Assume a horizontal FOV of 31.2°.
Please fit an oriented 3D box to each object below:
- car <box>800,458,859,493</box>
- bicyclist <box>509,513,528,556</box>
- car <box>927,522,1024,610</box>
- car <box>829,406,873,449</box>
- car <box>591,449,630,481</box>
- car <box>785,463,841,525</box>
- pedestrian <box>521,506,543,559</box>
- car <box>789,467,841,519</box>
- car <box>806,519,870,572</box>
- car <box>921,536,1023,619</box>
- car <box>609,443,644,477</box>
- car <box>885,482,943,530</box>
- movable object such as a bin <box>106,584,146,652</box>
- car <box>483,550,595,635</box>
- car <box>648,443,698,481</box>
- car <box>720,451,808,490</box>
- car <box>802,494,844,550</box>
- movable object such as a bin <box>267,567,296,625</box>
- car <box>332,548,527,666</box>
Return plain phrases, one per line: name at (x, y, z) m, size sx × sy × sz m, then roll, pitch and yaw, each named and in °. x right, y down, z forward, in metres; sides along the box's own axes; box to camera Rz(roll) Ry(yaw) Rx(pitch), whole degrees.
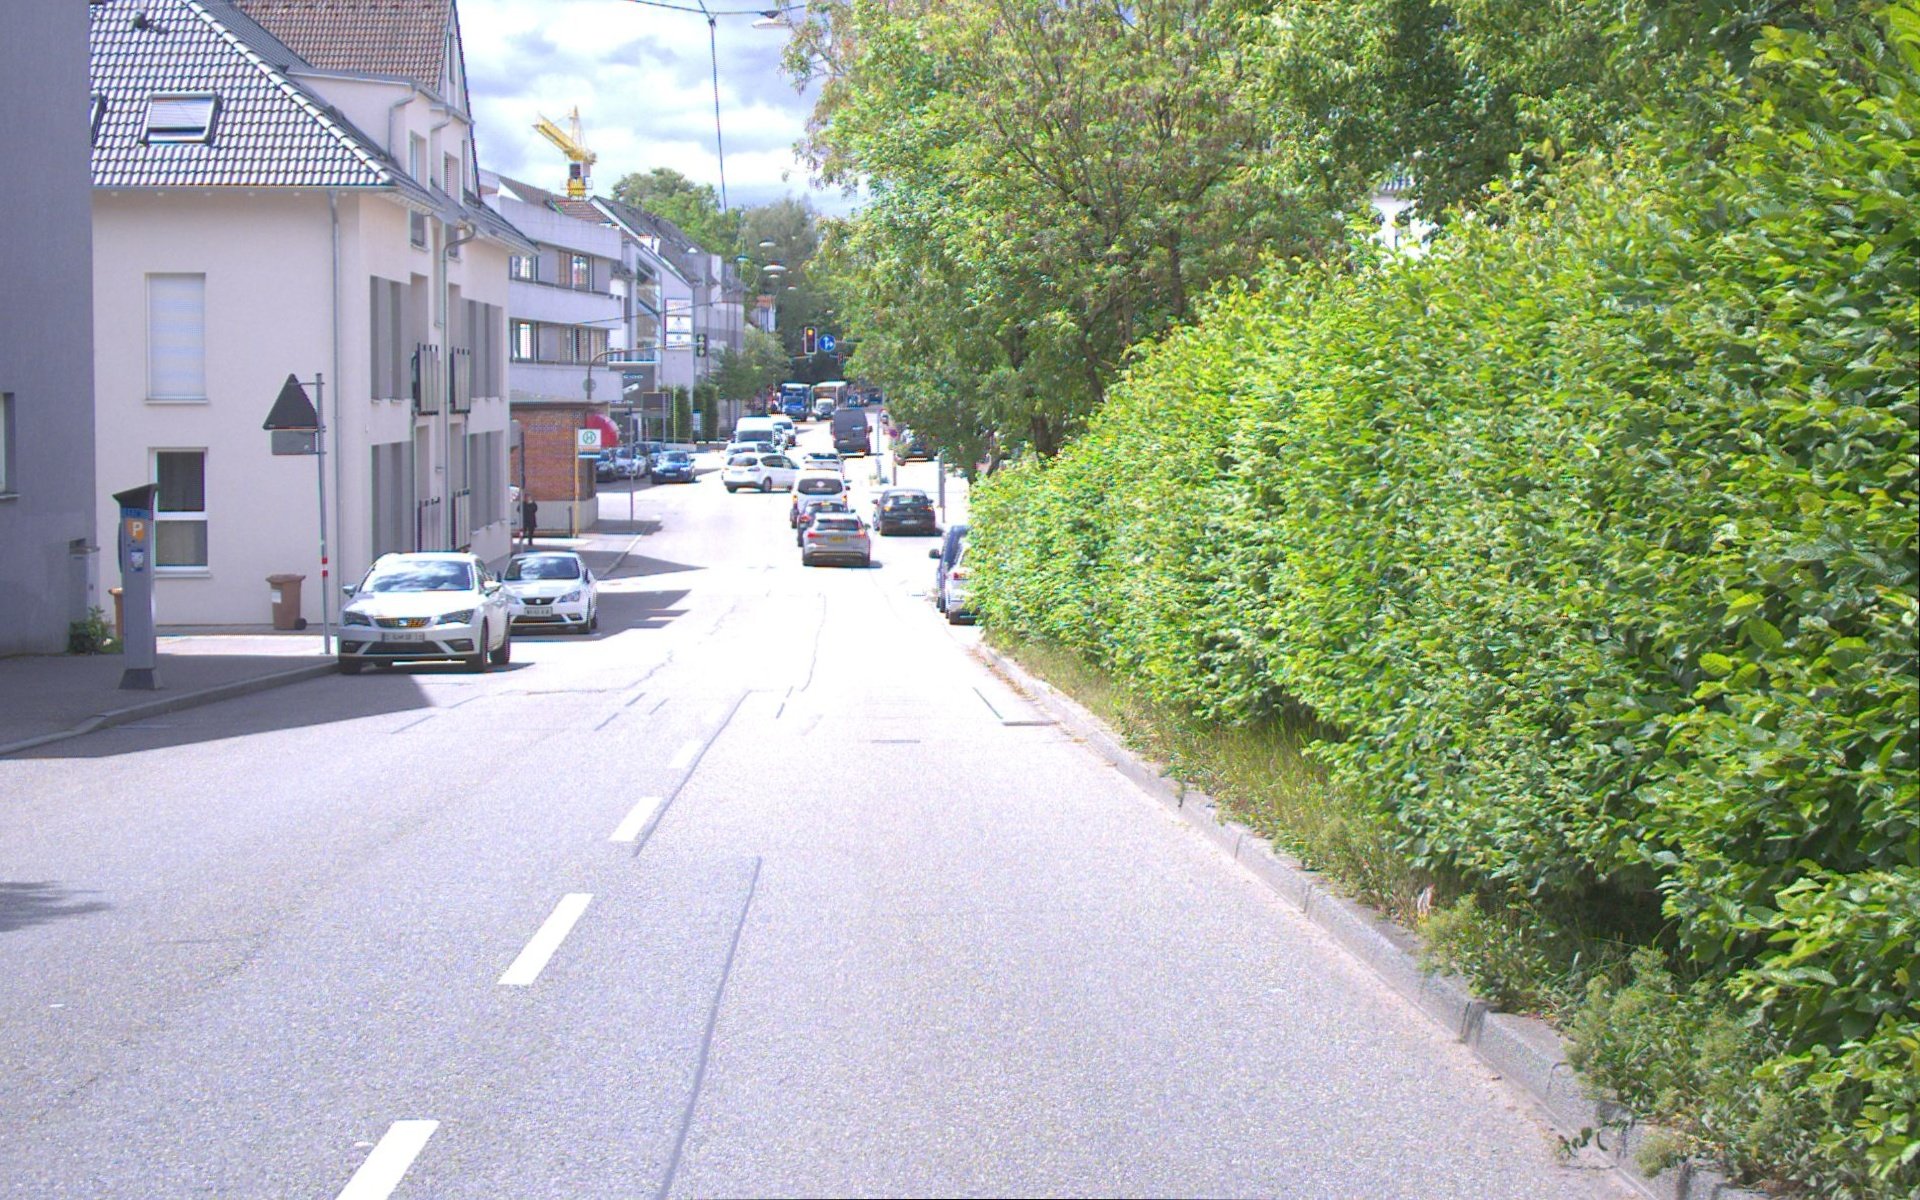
car at (-5.911, -5.668, 156.413) m, size 1.783 × 1.487 × 3.998 m, roll 2°, pitch 2°, yaw 11°
bicyclist at (-12.267, -1.829, 95.429) m, size 0.458 × 1.175 × 0.625 m, roll 0°, pitch 2°, yaw -2°
car at (0.294, -0.735, 71.847) m, size 1.844 × 1.761 × 4.516 m, roll 1°, pitch 1°, yaw -2°
car at (-6.243, -9.815, 196.043) m, size 2.436 × 2.310 × 5.327 m, roll 1°, pitch 2°, yaw -2°
car at (-15.732, -6.081, 154.837) m, size 1.551 × 1.371 × 3.399 m, roll 0°, pitch 1°, yaw -2°
car at (-4.929, -3.586, 115.723) m, size 1.836 × 1.855 × 3.852 m, roll 1°, pitch 4°, yaw -2°
pedestrian at (-12.971, -2.042, 104.178) m, size 0.628 × 1.597 × 0.563 m, roll 0°, pitch 2°, yaw -7°
car at (-5.338, -3.952, 126.862) m, size 1.836 × 1.855 × 3.851 m, roll 1°, pitch 2°, yaw -2°
car at (-3.424, -1.548, 96.476) m, size 1.744 × 1.412 × 4.001 m, roll 0°, pitch 2°, yaw -2°
car at (0.193, -0.458, 66.065) m, size 1.786 × 1.504 × 4.365 m, roll 1°, pitch 1°, yaw -2°
car at (-15.501, -6.503, 159.930) m, size 1.384 × 1.535 × 3.399 m, roll 0°, pitch 1°, yaw -2°
car at (-1.522, -3.093, 112.313) m, size 1.753 × 1.366 × 4.001 m, roll 0°, pitch 4°, yaw -2°
movable object such as a bin at (-11.638, 0.246, 47.975) m, size 0.454 × 0.926 × 0.400 m, roll -1°, pitch 1°, yaw -3°
car at (-7.439, -0.158, 60.929) m, size 1.647 × 1.414 × 3.699 m, roll 1°, pitch 1°, yaw -2°
car at (-12.947, -6.231, 155.317) m, size 1.873 × 1.634 × 4.000 m, roll 2°, pitch 2°, yaw 0°
car at (-8.113, -5.343, 142.272) m, size 1.784 × 1.552 × 3.994 m, roll 0°, pitch 2°, yaw 28°
car at (-4.205, -2.397, 105.277) m, size 1.273 × 1.522 × 3.051 m, roll 0°, pitch 5°, yaw -3°
movable object such as a bin at (-11.253, -0.071, 57.044) m, size 0.413 × 0.950 × 0.391 m, roll -1°, pitch 1°, yaw -5°
car at (-6.583, 0.107, 42.988) m, size 1.697 × 1.386 × 3.865 m, roll 1°, pitch -1°, yaw 2°
